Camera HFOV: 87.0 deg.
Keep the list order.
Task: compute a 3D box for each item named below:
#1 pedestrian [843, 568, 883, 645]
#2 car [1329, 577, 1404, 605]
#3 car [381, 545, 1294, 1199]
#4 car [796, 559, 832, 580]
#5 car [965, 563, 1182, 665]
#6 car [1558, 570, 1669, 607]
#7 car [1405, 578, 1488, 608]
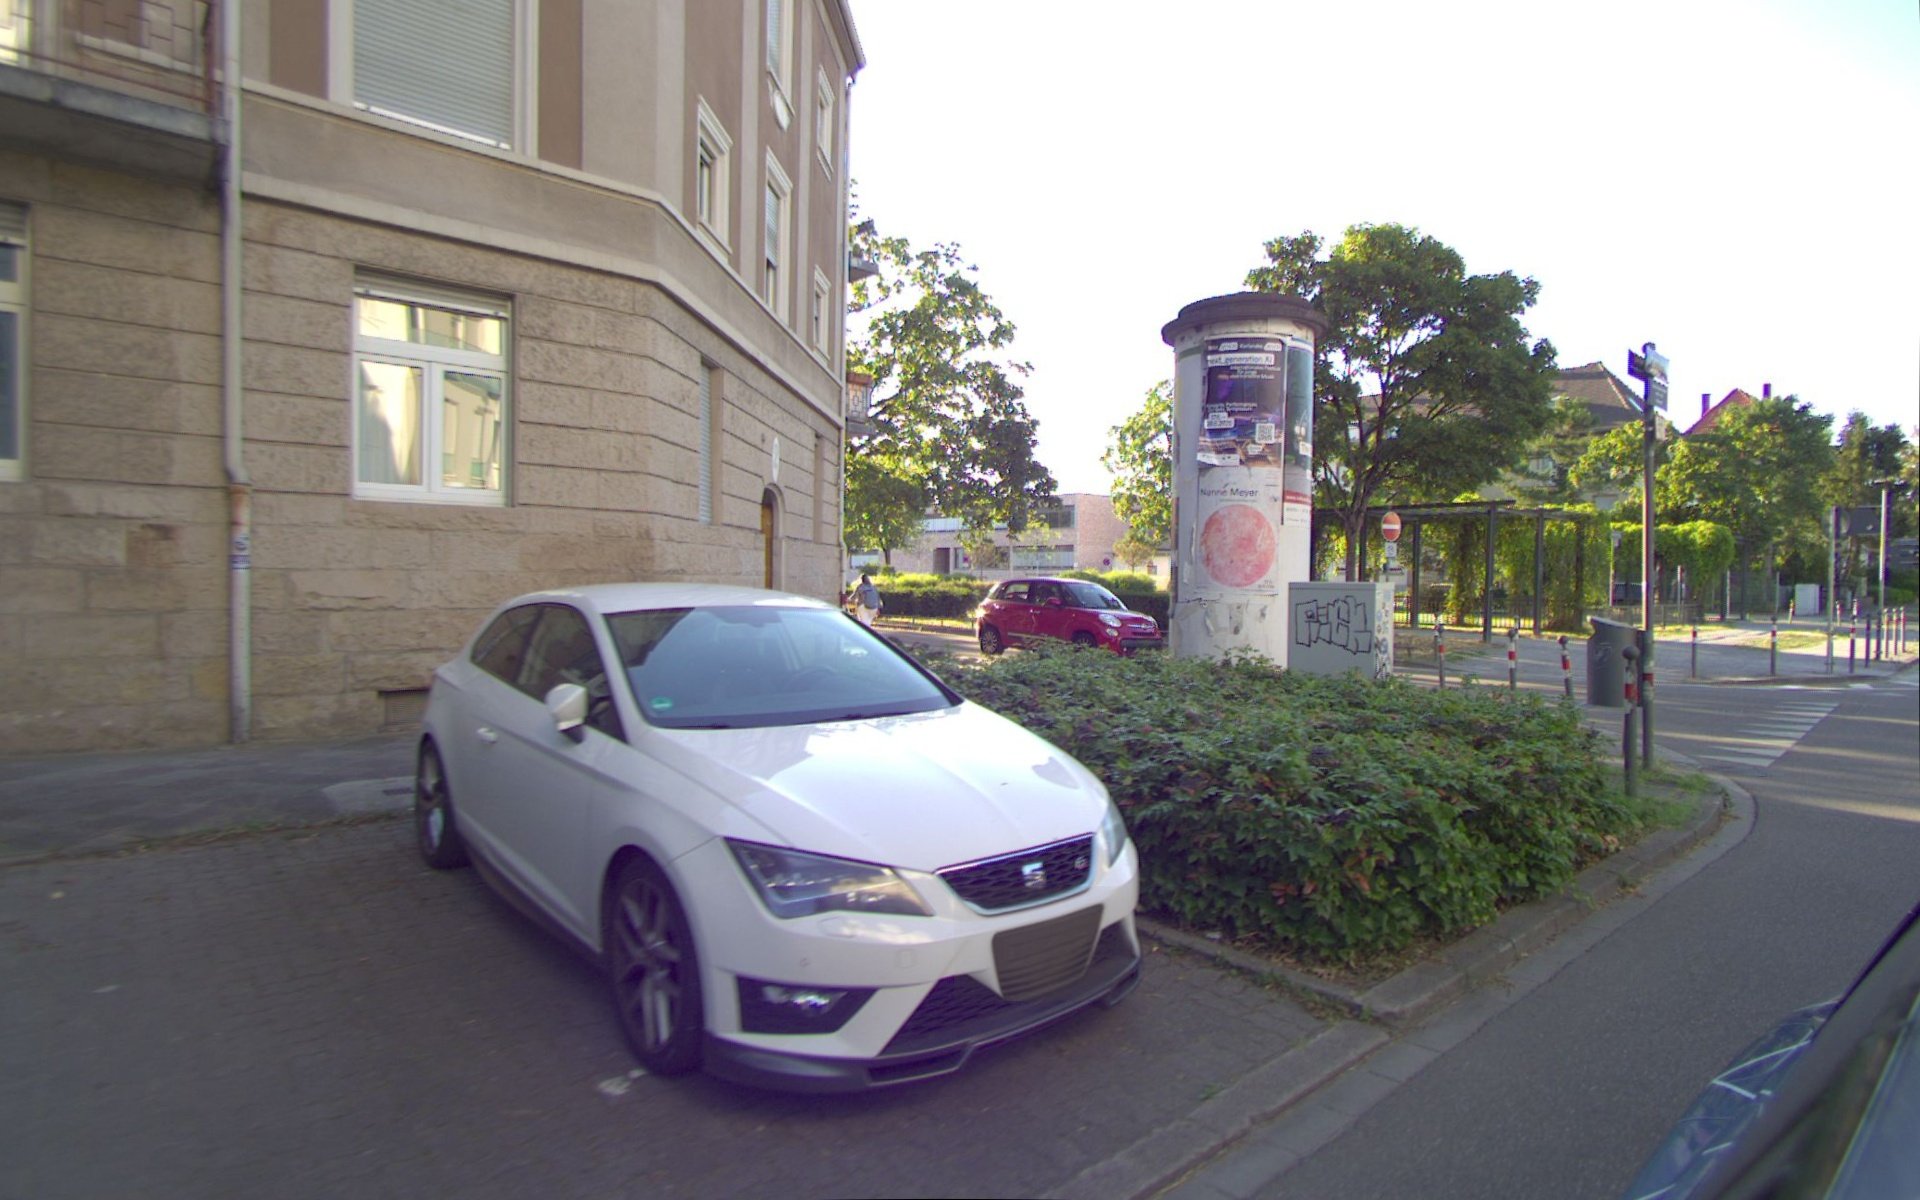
[{"bbox_3d":[-2.040,0.131,21.285,0.728,1.565,0.821,2,-1,-2],"label":"pedestrian"},{"bbox_3d":[23.913,-0.544,59.616,1.704,1.537,3.756,0,2,-39],"label":"car"},{"bbox_3d":[-0.931,0.557,4.252,1.830,1.524,4.055,0,2,-41],"label":"car"},{"bbox_3d":[-15.506,-3.225,107.210,1.965,2.150,3.996,0,2,-40],"label":"car"},{"bbox_3d":[2.132,0.215,19.924,1.780,1.763,4.082,2,0,-41],"label":"car"},{"bbox_3d":[31.889,-0.570,49.460,1.791,1.662,4.209,3,0,-42],"label":"car"},{"bbox_3d":[26.843,-0.435,55.878,1.738,1.544,3.772,-2,3,-37],"label":"car"}]
